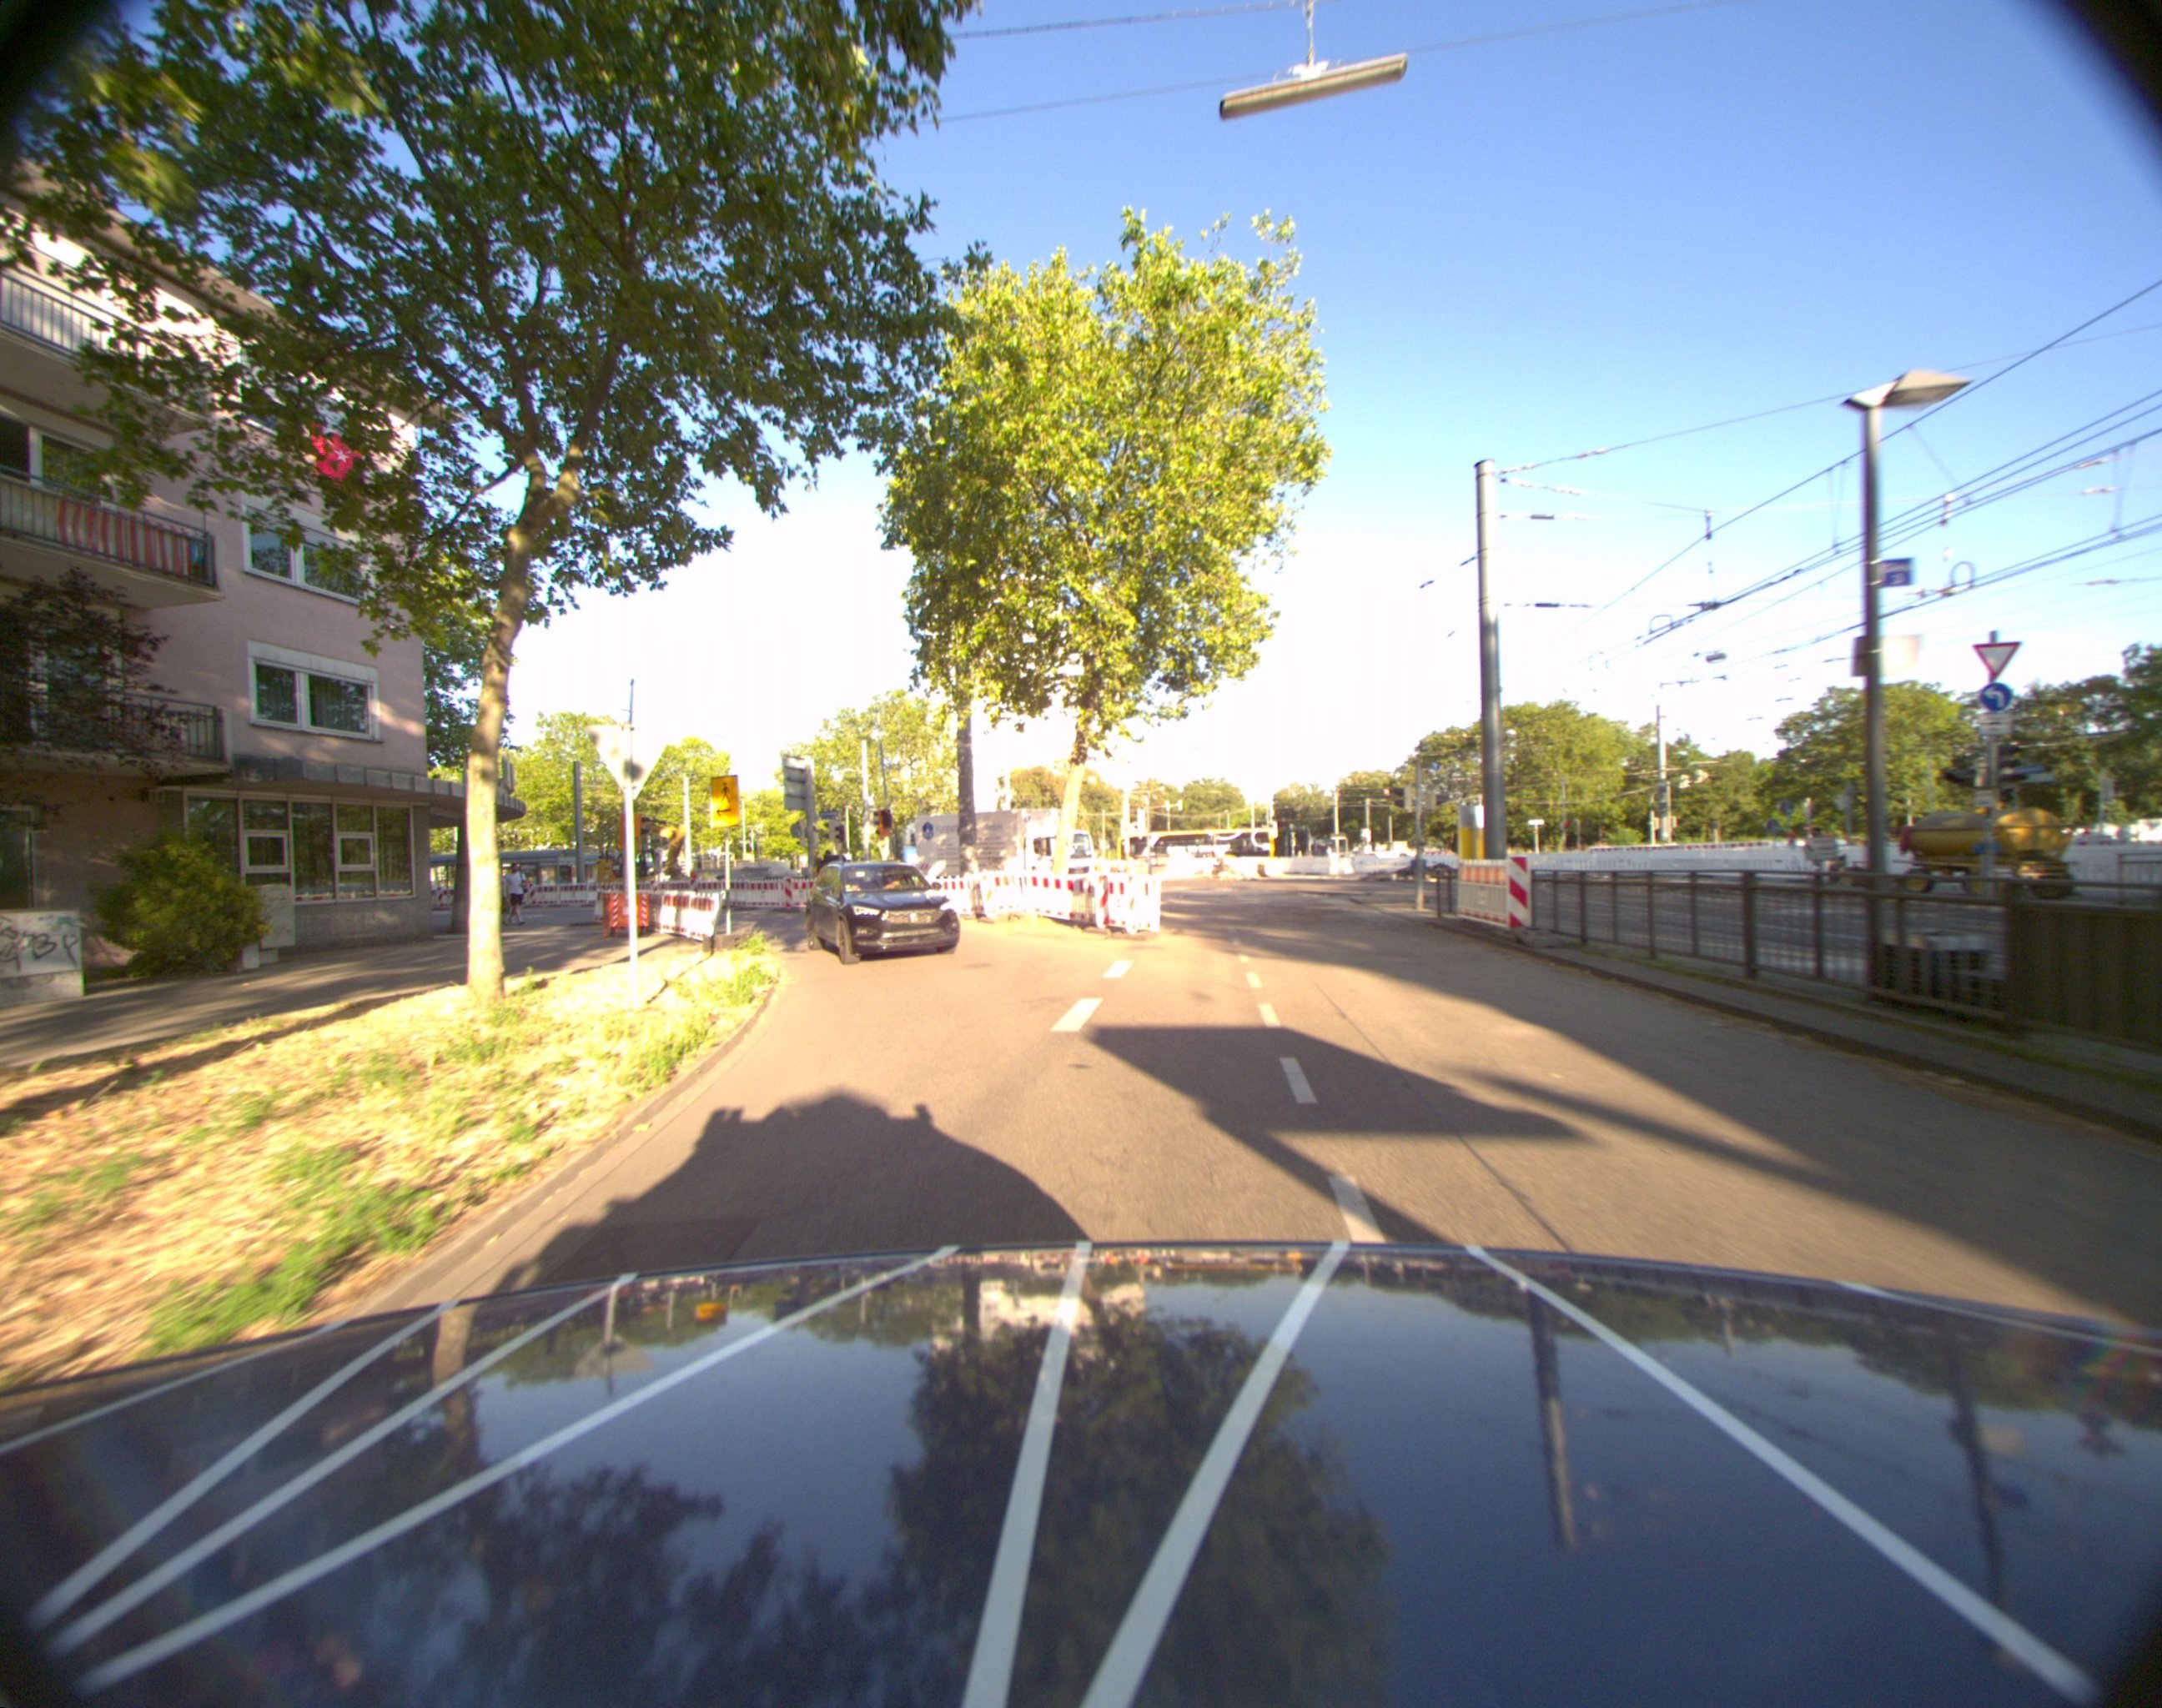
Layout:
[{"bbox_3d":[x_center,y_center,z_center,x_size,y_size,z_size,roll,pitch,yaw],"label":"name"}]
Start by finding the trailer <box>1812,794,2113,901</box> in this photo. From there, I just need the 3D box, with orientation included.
[{"bbox_3d":[19.944,-0.147,17.560,1.998,2.103,4.347,-2,1,3],"label":"trailer"}]

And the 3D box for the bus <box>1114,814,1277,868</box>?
[{"bbox_3d":[8.923,-0.991,59.883,12.283,3.701,3.090,-2,1,10],"label":"bus"}]

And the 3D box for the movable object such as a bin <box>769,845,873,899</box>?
[{"bbox_3d":[-11.922,0.830,34.684,5.193,2.244,2.003,-2,2,41],"label":"movable object such as a bin"}]

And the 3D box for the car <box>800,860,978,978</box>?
[{"bbox_3d":[-3.543,0.995,13.391,2.003,1.637,4.195,-3,0,-28],"label":"car"}]

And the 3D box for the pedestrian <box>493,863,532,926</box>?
[{"bbox_3d":[-17.259,1.221,23.095,0.842,1.858,1.097,2,-2,-35],"label":"pedestrian"}]

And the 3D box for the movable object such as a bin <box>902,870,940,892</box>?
[{"bbox_3d":[-7.404,1.251,35.149,1.417,0.911,0.937,-2,1,16],"label":"movable object such as a bin"}]

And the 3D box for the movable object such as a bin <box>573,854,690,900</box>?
[{"bbox_3d":[-25.016,1.252,42.395,4.895,2.304,2.653,-2,1,8],"label":"movable object such as a bin"}]

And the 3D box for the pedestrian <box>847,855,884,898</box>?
[{"bbox_3d":[-9.255,0.970,32.633,1.067,1.788,0.977,-2,1,31],"label":"pedestrian"}]

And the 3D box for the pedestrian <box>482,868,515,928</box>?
[{"bbox_3d":[-16.844,1.260,21.984,0.585,1.697,0.678,-1,-2,-23],"label":"pedestrian"}]

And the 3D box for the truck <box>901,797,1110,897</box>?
[{"bbox_3d":[-3.319,-0.160,30.821,8.958,3.521,2.827,-2,1,40],"label":"truck"}]
